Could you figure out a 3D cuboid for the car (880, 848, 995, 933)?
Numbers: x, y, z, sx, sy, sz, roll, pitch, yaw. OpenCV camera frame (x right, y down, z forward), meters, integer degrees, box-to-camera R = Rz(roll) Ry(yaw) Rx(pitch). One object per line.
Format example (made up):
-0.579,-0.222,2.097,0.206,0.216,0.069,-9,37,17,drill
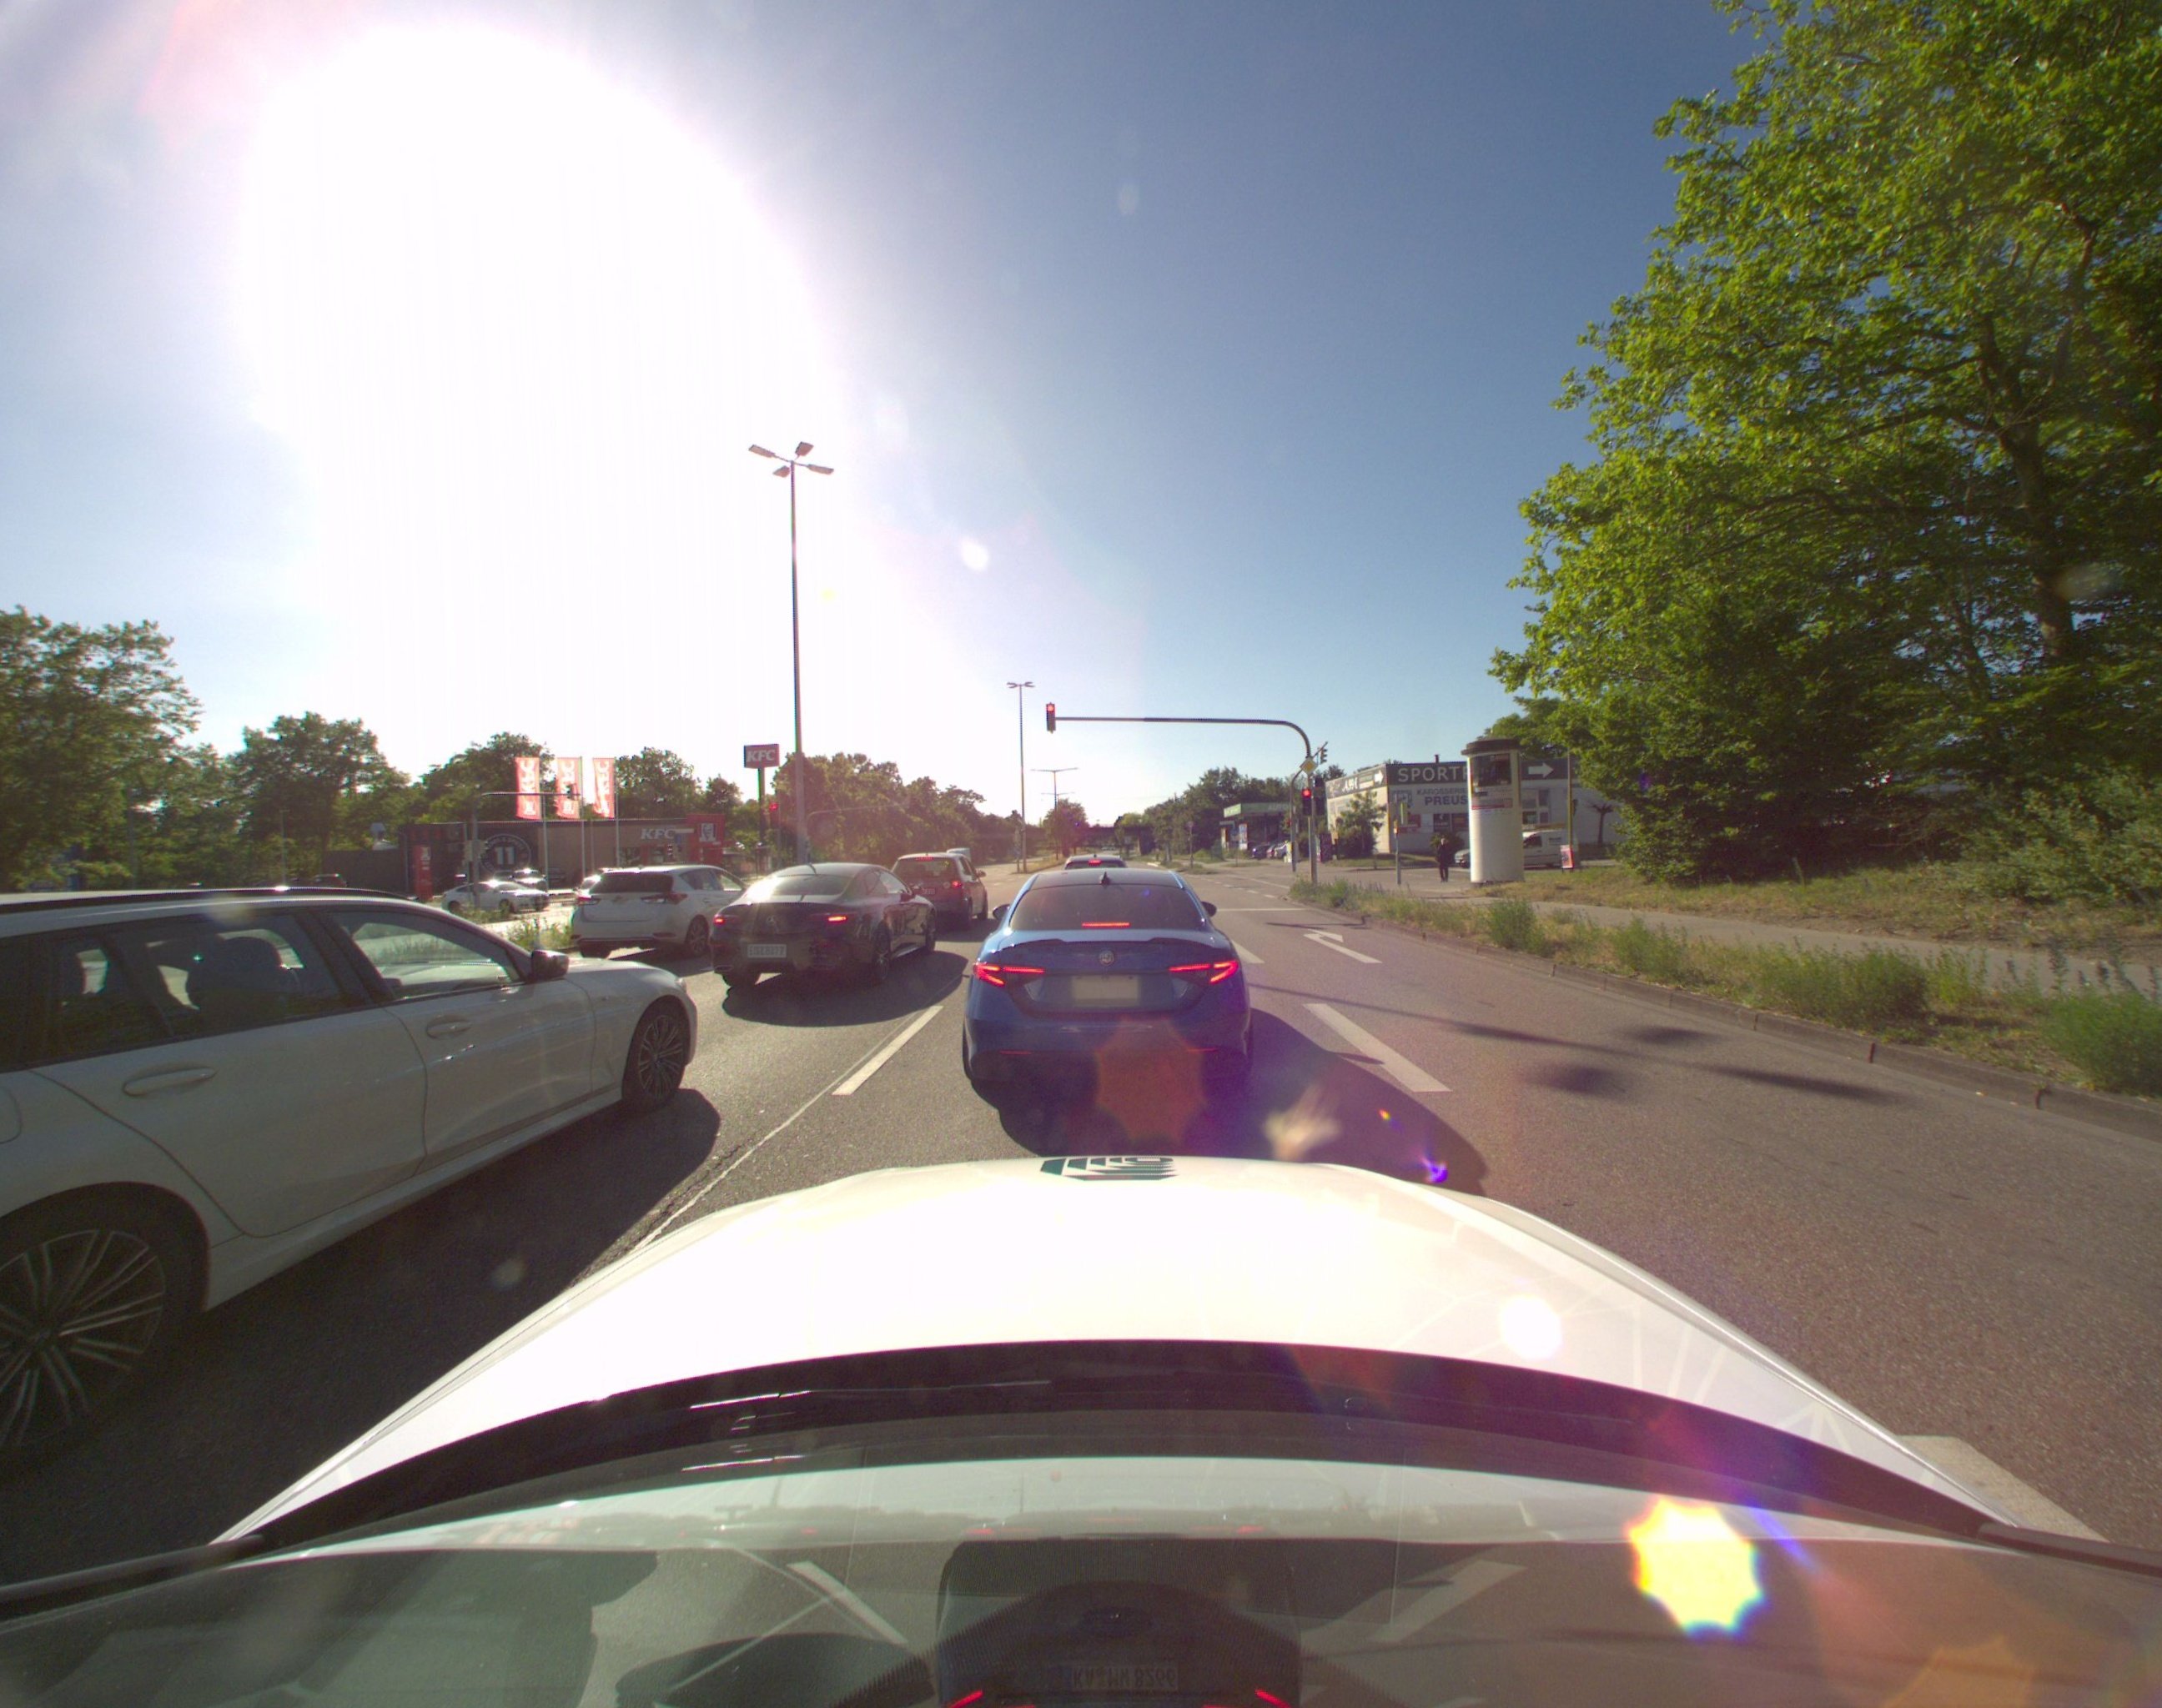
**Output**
-2.996,0.699,17.754,1.642,1.598,3.933,-1,0,2,car

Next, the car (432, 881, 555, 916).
-27.083,2.042,37.578,4.689,1.429,1.869,-1,0,11,car

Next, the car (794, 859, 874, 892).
-13.461,1.132,44.416,4.051,1.595,1.812,-2,0,-21,car

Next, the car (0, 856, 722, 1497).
-3.430,0.797,3.360,1.762,1.509,4.463,-1,0,2,car

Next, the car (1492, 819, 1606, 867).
22.630,-0.522,39.466,4.393,2.145,1.999,-1,0,-2,car

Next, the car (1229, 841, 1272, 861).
15.381,-0.253,73.969,3.489,1.706,1.687,-1,0,-14,car

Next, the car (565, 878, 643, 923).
-17.857,1.688,30.667,1.826,1.429,4.021,-3,0,-21,car

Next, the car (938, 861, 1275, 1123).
0.202,0.787,6.511,1.859,1.385,3.933,-1,0,2,car

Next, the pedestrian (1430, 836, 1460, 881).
14.213,0.181,31.825,0.818,1.721,0.856,-2,0,9,pedestrian

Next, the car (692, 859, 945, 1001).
-3.143,0.813,10.833,1.762,1.414,4.463,-1,0,2,car

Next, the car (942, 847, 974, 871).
-13.212,0.475,87.861,2.422,2.427,5.833,-1,0,2,car

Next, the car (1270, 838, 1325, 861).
17.508,-0.359,65.866,3.993,1.706,1.687,-2,0,-15,car

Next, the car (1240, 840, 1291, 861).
16.038,-0.289,70.760,3.997,1.706,1.685,-1,0,-18,car

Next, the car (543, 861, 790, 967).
-6.827,0.896,14.062,1.850,1.429,4.405,-1,0,2,car

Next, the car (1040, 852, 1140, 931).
0.231,0.701,17.196,1.859,1.450,3.933,-1,0,2,car

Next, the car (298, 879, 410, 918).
-37.849,2.292,42.487,4.056,1.794,2.002,-1,0,3,car

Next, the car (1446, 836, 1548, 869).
21.952,-0.081,43.065,4.393,1.553,1.999,-1,0,-2,car

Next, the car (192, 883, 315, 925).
-38.825,2.325,38.275,3.972,1.728,1.759,-1,0,1,car
